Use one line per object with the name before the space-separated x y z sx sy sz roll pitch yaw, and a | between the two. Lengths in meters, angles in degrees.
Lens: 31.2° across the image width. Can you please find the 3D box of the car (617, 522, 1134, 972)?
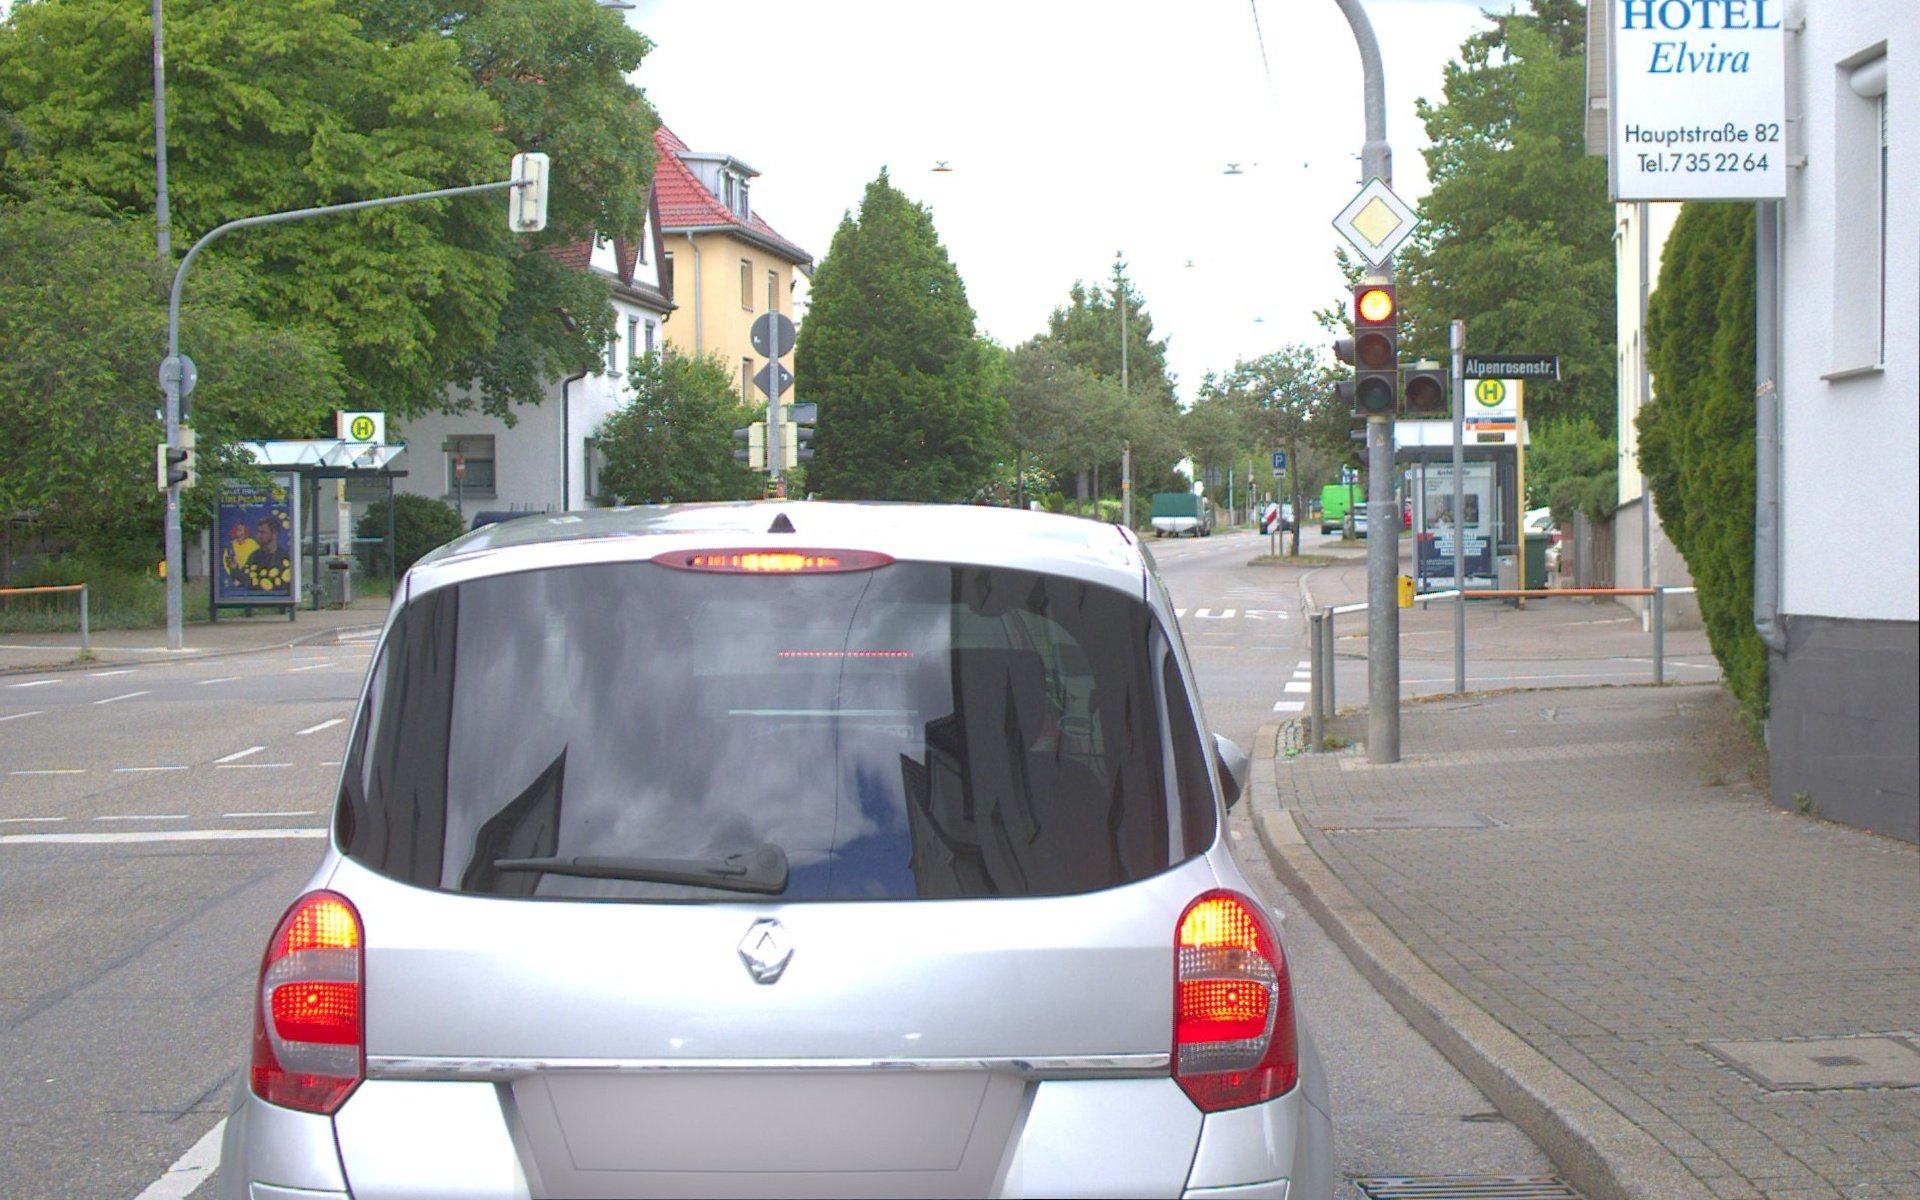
car | -0.321 0.474 13.634 1.755 1.525 3.797 0 1 -1

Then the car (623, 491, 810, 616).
car | -3.784 -0.751 54.191 1.927 1.767 3.999 -4 1 10

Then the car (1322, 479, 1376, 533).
car | 18.441 -4.442 162.994 2.060 2.503 5.593 1 1 11

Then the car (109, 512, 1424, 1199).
car | -0.296 0.620 6.608 1.755 1.525 4.000 0 1 -1

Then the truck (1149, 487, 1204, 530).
truck | 10.500 -4.430 166.504 2.102 2.007 5.745 1 1 9
